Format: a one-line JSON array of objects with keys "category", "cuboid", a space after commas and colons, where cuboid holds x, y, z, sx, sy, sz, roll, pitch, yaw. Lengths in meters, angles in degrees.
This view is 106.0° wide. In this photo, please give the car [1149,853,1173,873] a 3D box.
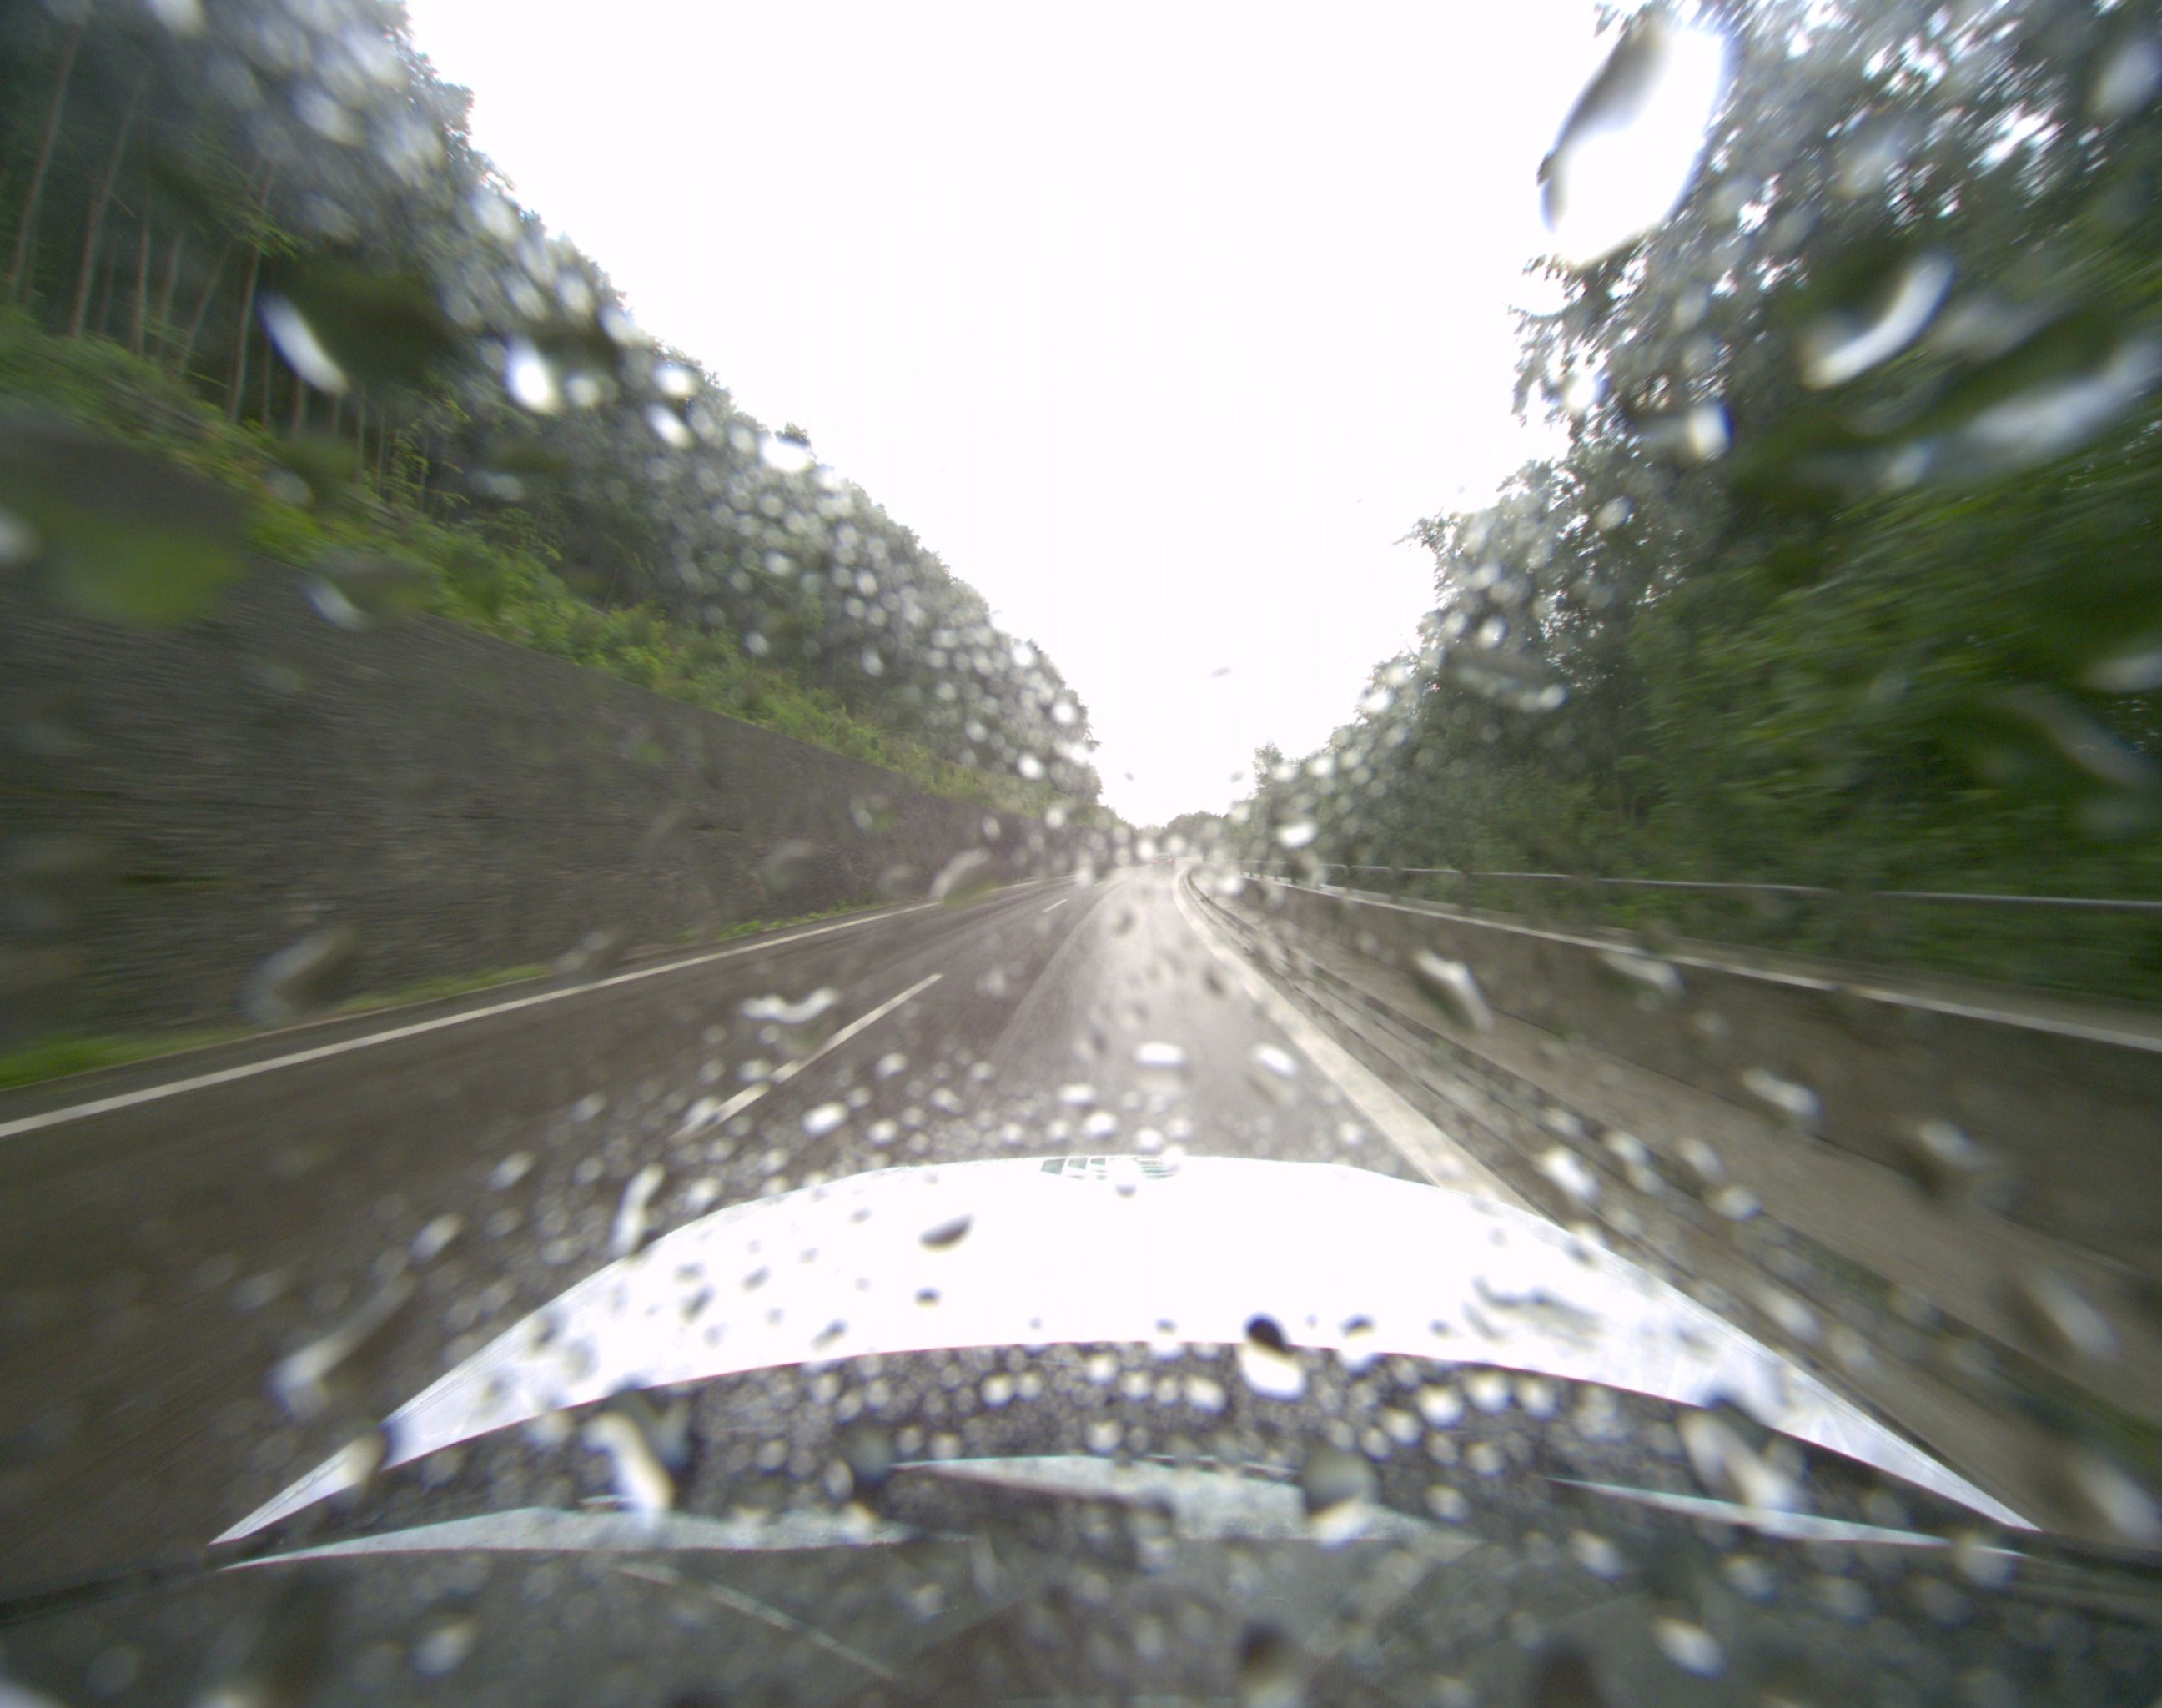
[{"category": "car", "cuboid": [6.714, 0.746, 68.210, 1.894, 1.499, 4.007, -3, 0, 6]}]
